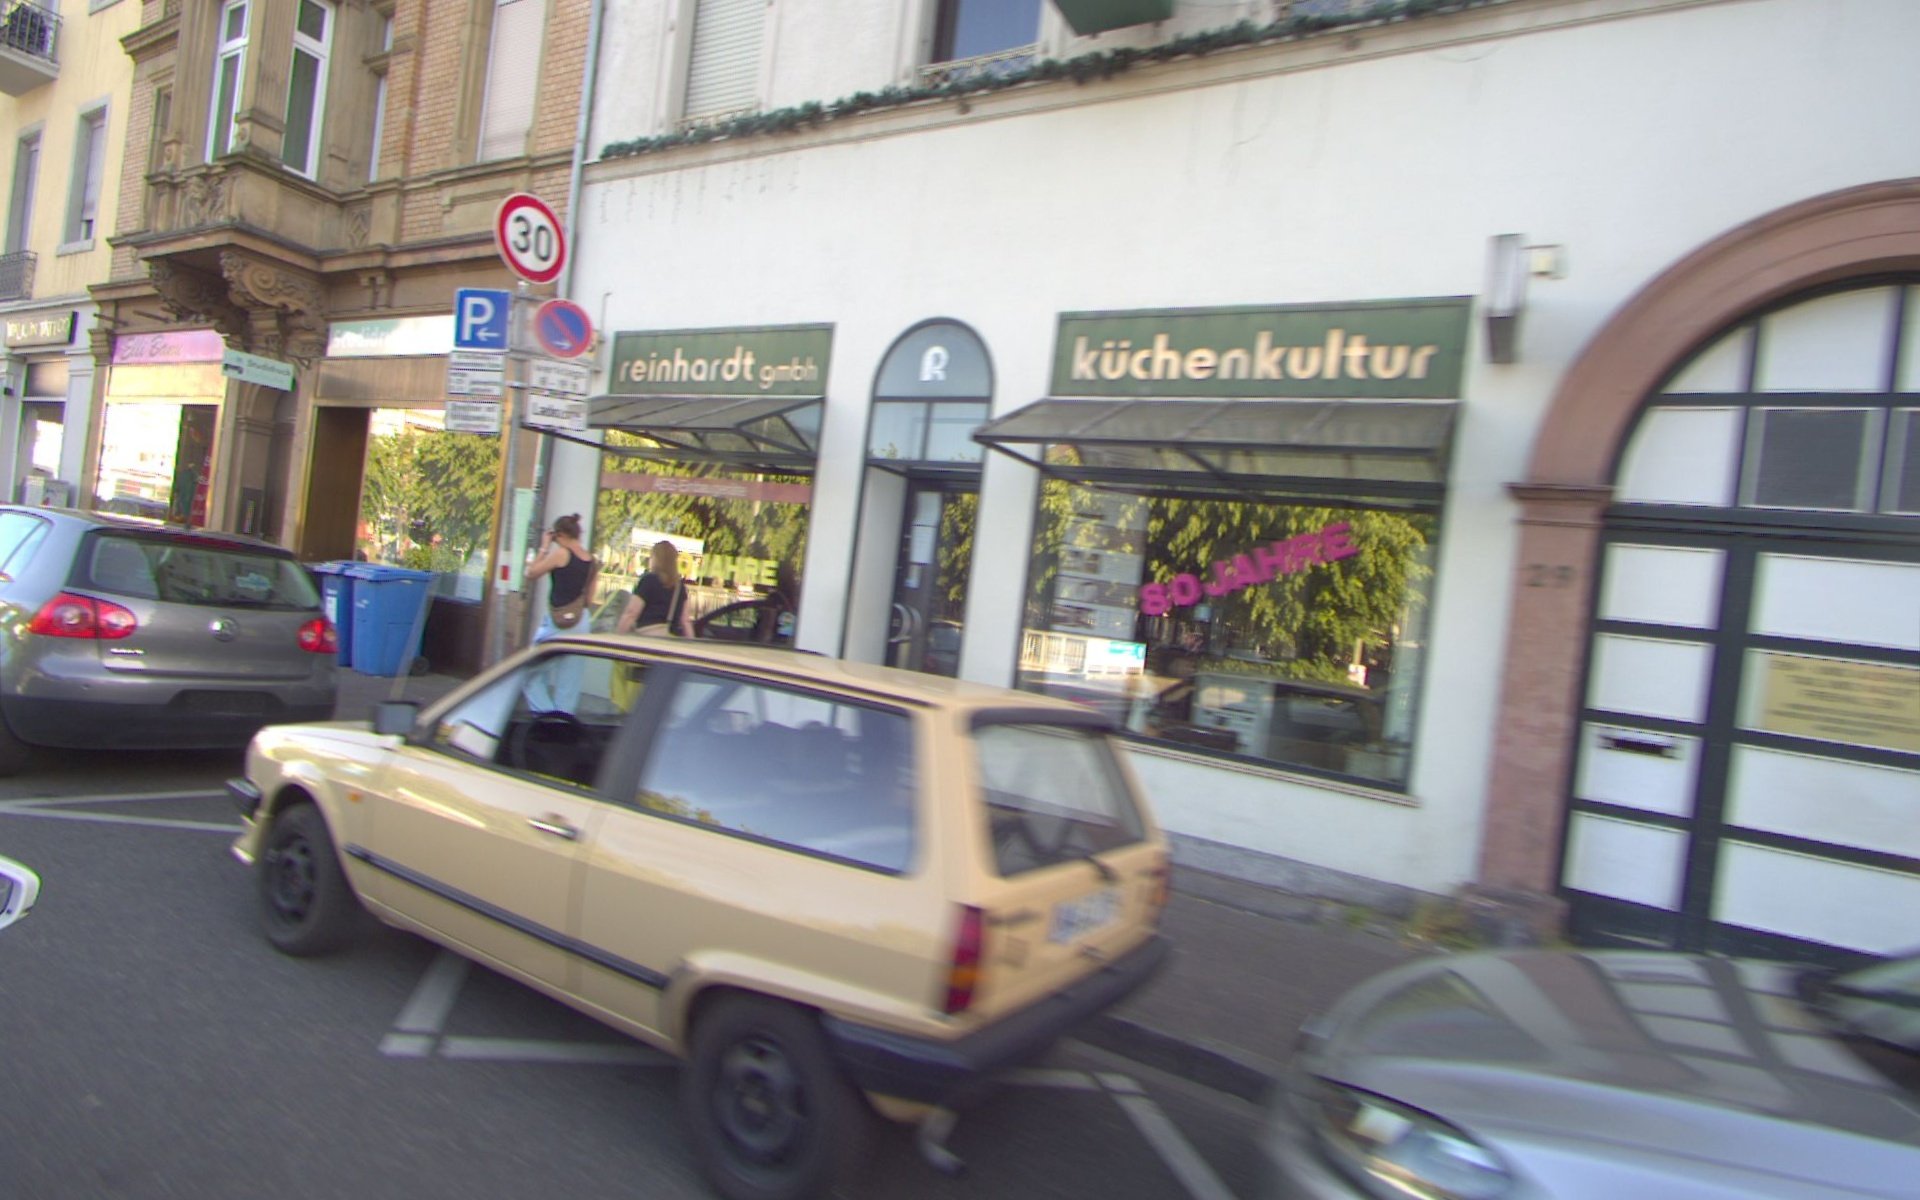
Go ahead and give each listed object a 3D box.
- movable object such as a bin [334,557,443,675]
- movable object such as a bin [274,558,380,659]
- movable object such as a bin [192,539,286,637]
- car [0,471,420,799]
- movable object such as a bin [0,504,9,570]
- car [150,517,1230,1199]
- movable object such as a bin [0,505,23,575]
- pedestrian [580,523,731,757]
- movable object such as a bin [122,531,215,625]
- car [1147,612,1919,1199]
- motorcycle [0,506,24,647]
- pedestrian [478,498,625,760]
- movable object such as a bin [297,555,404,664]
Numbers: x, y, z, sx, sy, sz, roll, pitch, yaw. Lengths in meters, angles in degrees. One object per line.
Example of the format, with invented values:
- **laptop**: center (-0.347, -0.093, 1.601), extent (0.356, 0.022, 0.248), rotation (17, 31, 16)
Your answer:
- **movable object such as a bin**: center (-5.828, 0.168, 10.266), extent (0.616, 1.110, 0.680), rotation (7, 2, 31)
- **movable object such as a bin**: center (-6.899, 0.101, 10.979), extent (0.583, 1.013, 0.724), rotation (7, 2, 31)
- **movable object such as a bin**: center (-8.572, -0.135, 11.968), extent (0.621, 1.066, 0.645), rotation (7, 2, 30)
- **car**: center (-5.804, 0.047, 6.719), extent (4.156, 1.564, 1.843), rotation (8, -1, 30)
- **movable object such as a bin**: center (-15.845, -1.055, 16.243), extent (0.621, 1.066, 0.495), rotation (7, 2, 30)
- **car**: center (-1.163, 0.685, 3.772), extent (3.766, 1.466, 1.612), rotation (8, -1, 31)
- **movable object such as a bin**: center (-15.310, -0.966, 15.924), extent (0.621, 1.066, 0.479), rotation (7, 2, 30)
- **pedestrian**: center (-2.379, 0.307, 7.896), extent (0.580, 1.696, 0.801), rotation (7, 2, 33)
- **movable object such as a bin**: center (-10.178, -0.276, 12.933), extent (0.806, 1.090, 0.644), rotation (7, 2, 32)
- **car**: center (2.596, 1.094, 1.583), extent (4.114, 1.504, 1.843), rotation (8, -2, 31)
- **motorcycle**: center (-9.265, -0.244, 8.737), extent (0.646, 1.344, 2.039), rotation (7, -1, -14)
- **pedestrian**: center (-2.952, 0.210, 7.289), extent (0.510, 1.788, 0.620), rotation (7, 0, 33)
- **movable object such as a bin**: center (-6.427, 0.105, 10.616), extent (0.616, 1.057, 0.680), rotation (7, 2, 31)
